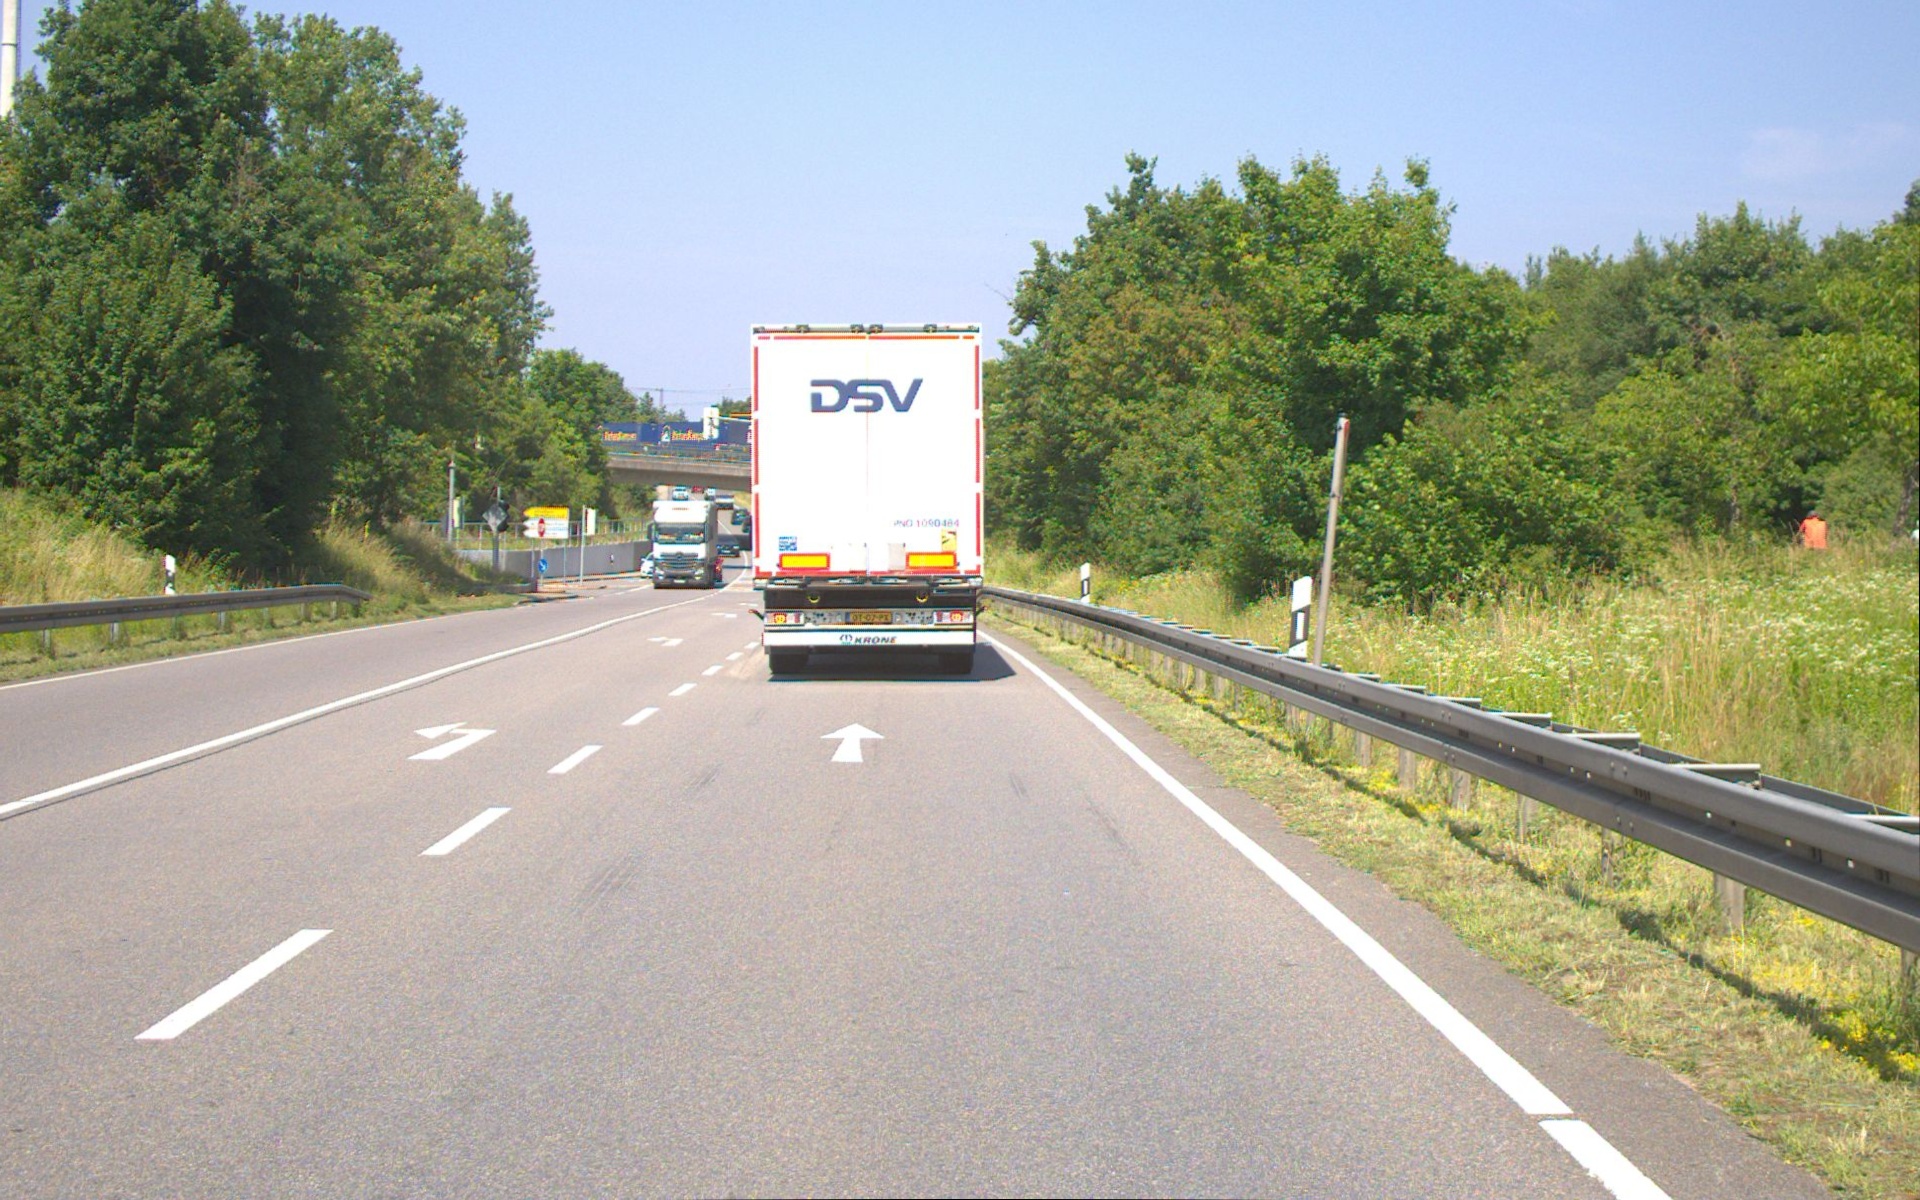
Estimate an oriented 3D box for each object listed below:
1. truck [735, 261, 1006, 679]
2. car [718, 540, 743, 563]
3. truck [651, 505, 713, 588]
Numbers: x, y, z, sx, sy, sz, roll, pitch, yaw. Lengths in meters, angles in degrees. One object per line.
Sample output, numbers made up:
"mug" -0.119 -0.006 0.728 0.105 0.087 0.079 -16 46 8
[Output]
"truck" -1.042 -1.485 42.542 2.950 4.553 9.863 0 1 -1
"car" -17.078 -3.610 255.846 1.747 1.620 3.704 0 1 -2
"truck" -13.084 -2.566 162.322 2.353 3.737 12.627 0 1 -2
